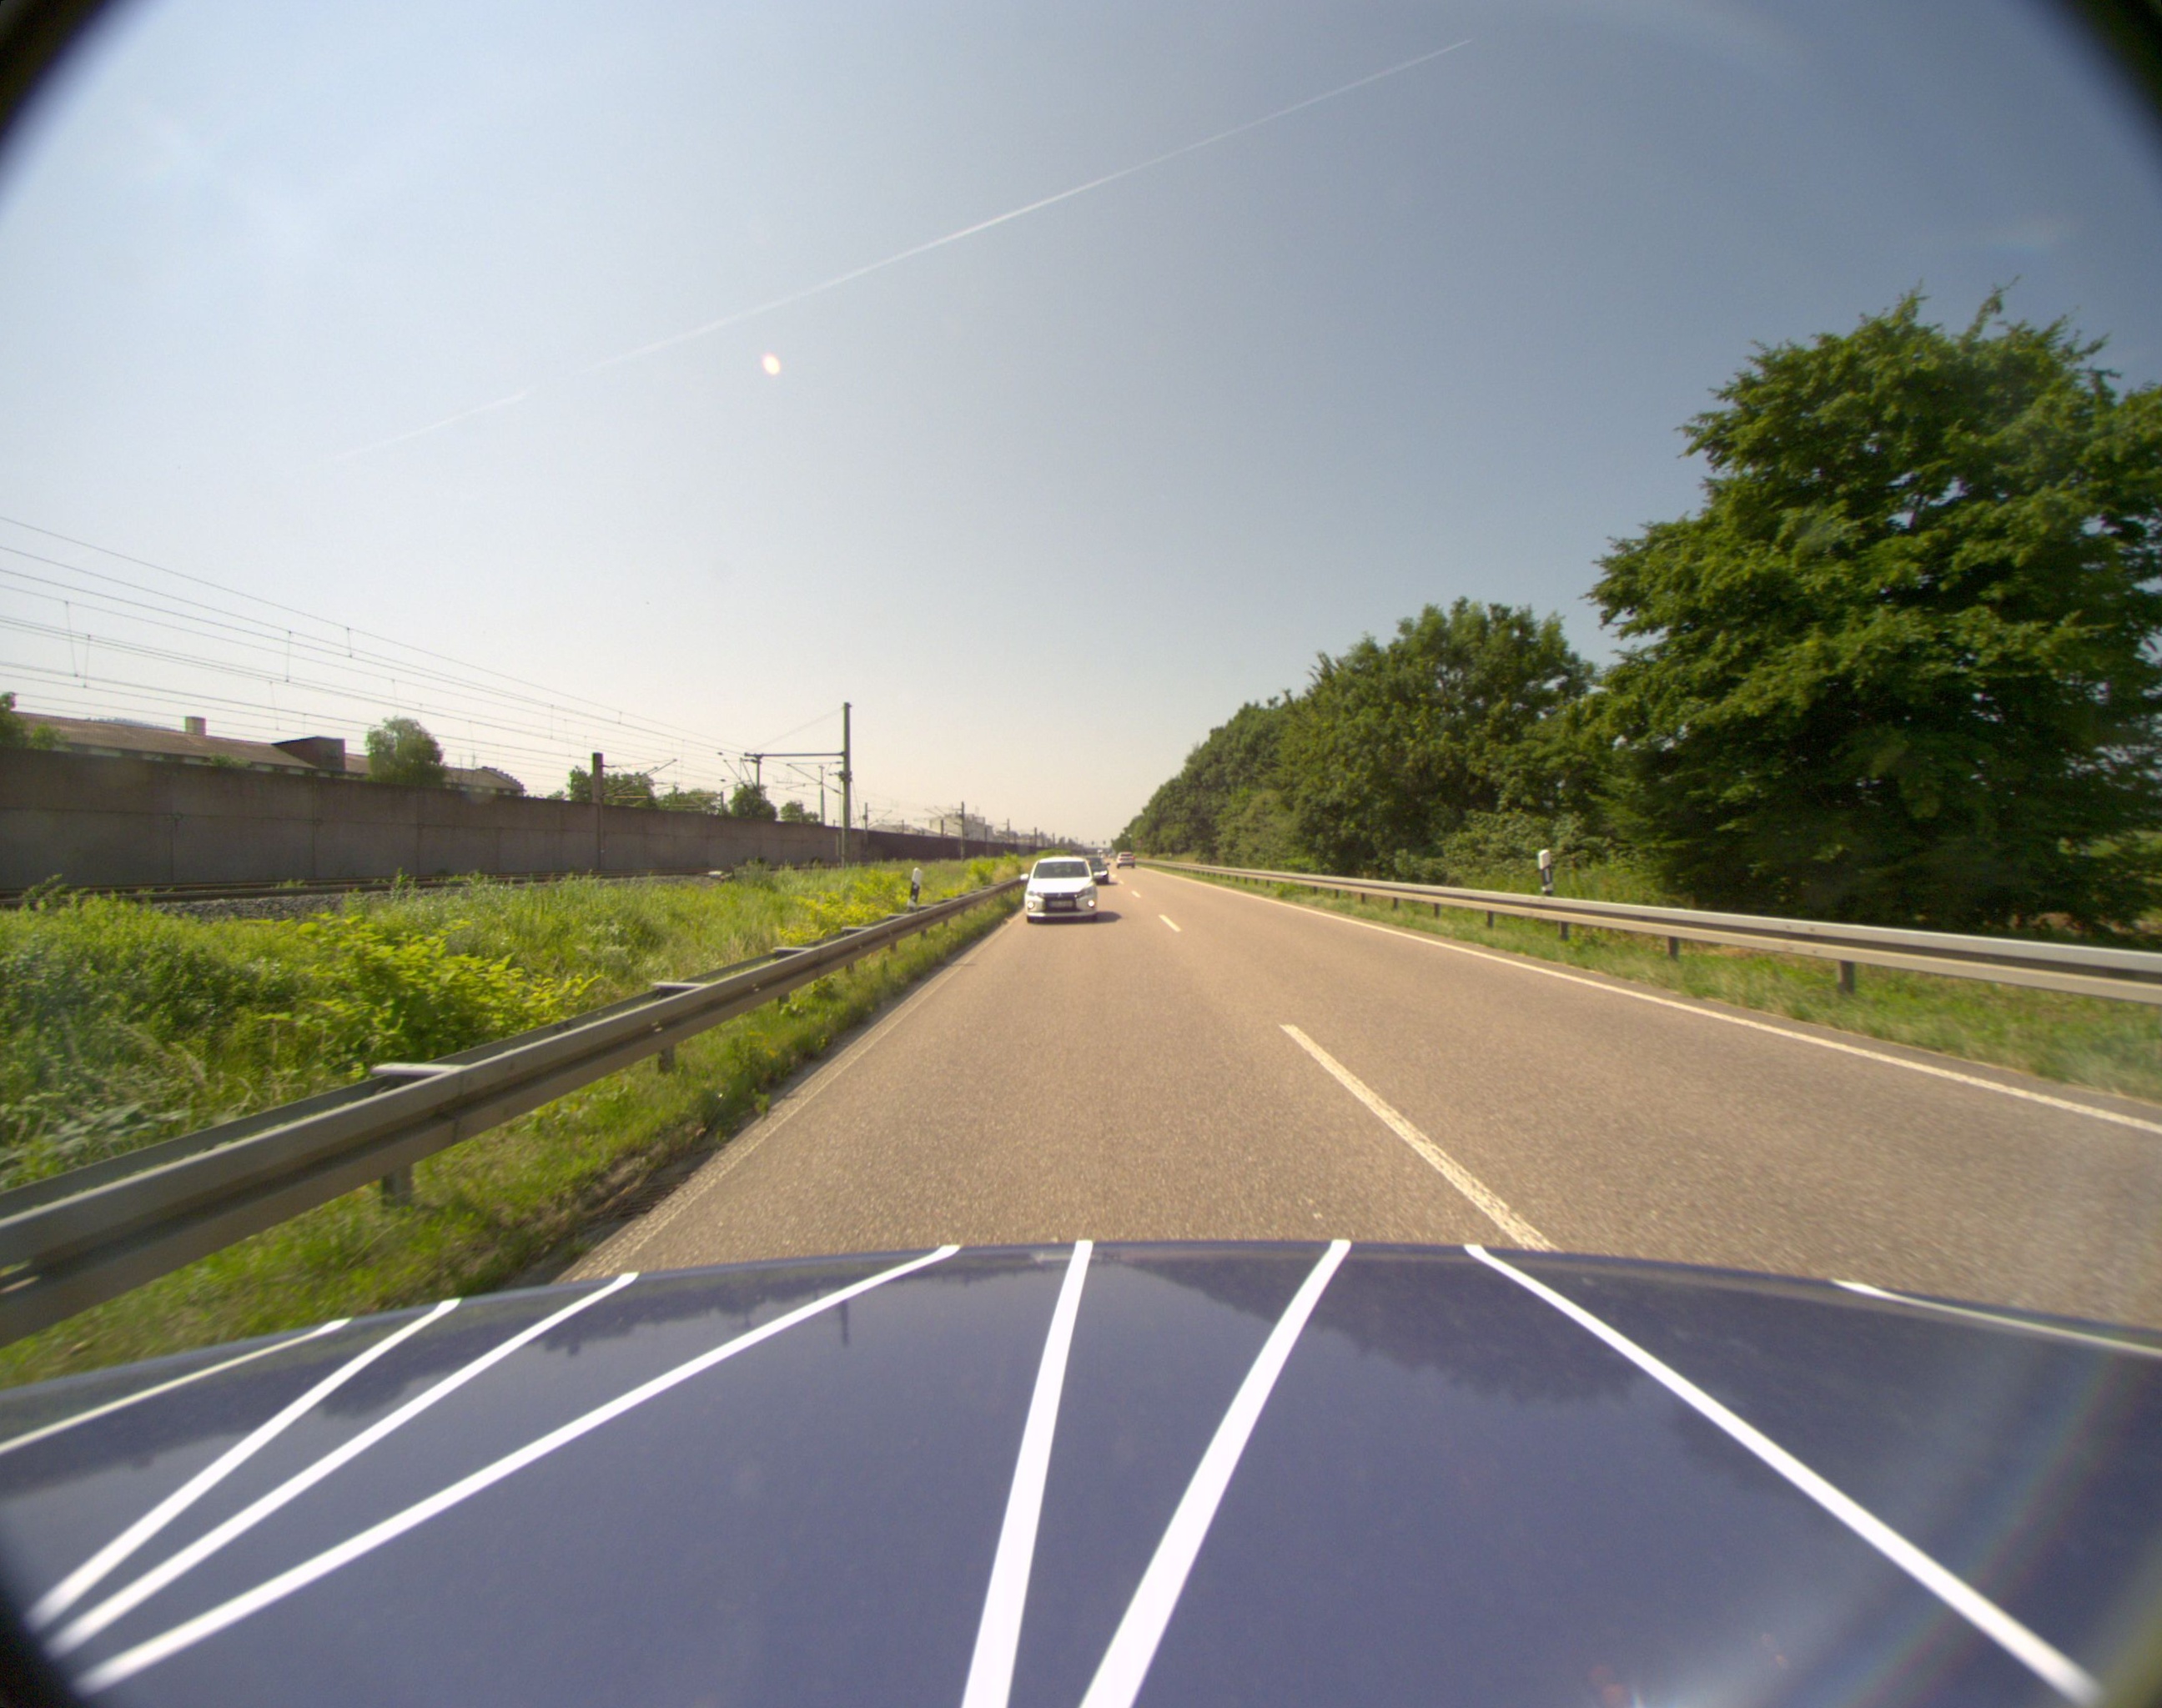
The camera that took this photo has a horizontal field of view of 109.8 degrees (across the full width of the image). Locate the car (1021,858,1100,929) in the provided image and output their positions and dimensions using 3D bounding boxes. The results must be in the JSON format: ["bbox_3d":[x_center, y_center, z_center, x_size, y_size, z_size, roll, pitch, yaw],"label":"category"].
[{"bbox_3d":[-0.417,0.878,18.783,1.701,1.471,4.155,-1,1,1],"label":"car"}]

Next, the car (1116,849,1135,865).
[{"bbox_3d":[4.425,0.259,76.250,1.710,1.471,4.155,-1,1,1],"label":"car"}]

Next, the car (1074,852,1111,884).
[{"bbox_3d":[0.578,0.693,38.718,1.710,1.471,4.155,-1,1,1],"label":"car"}]
